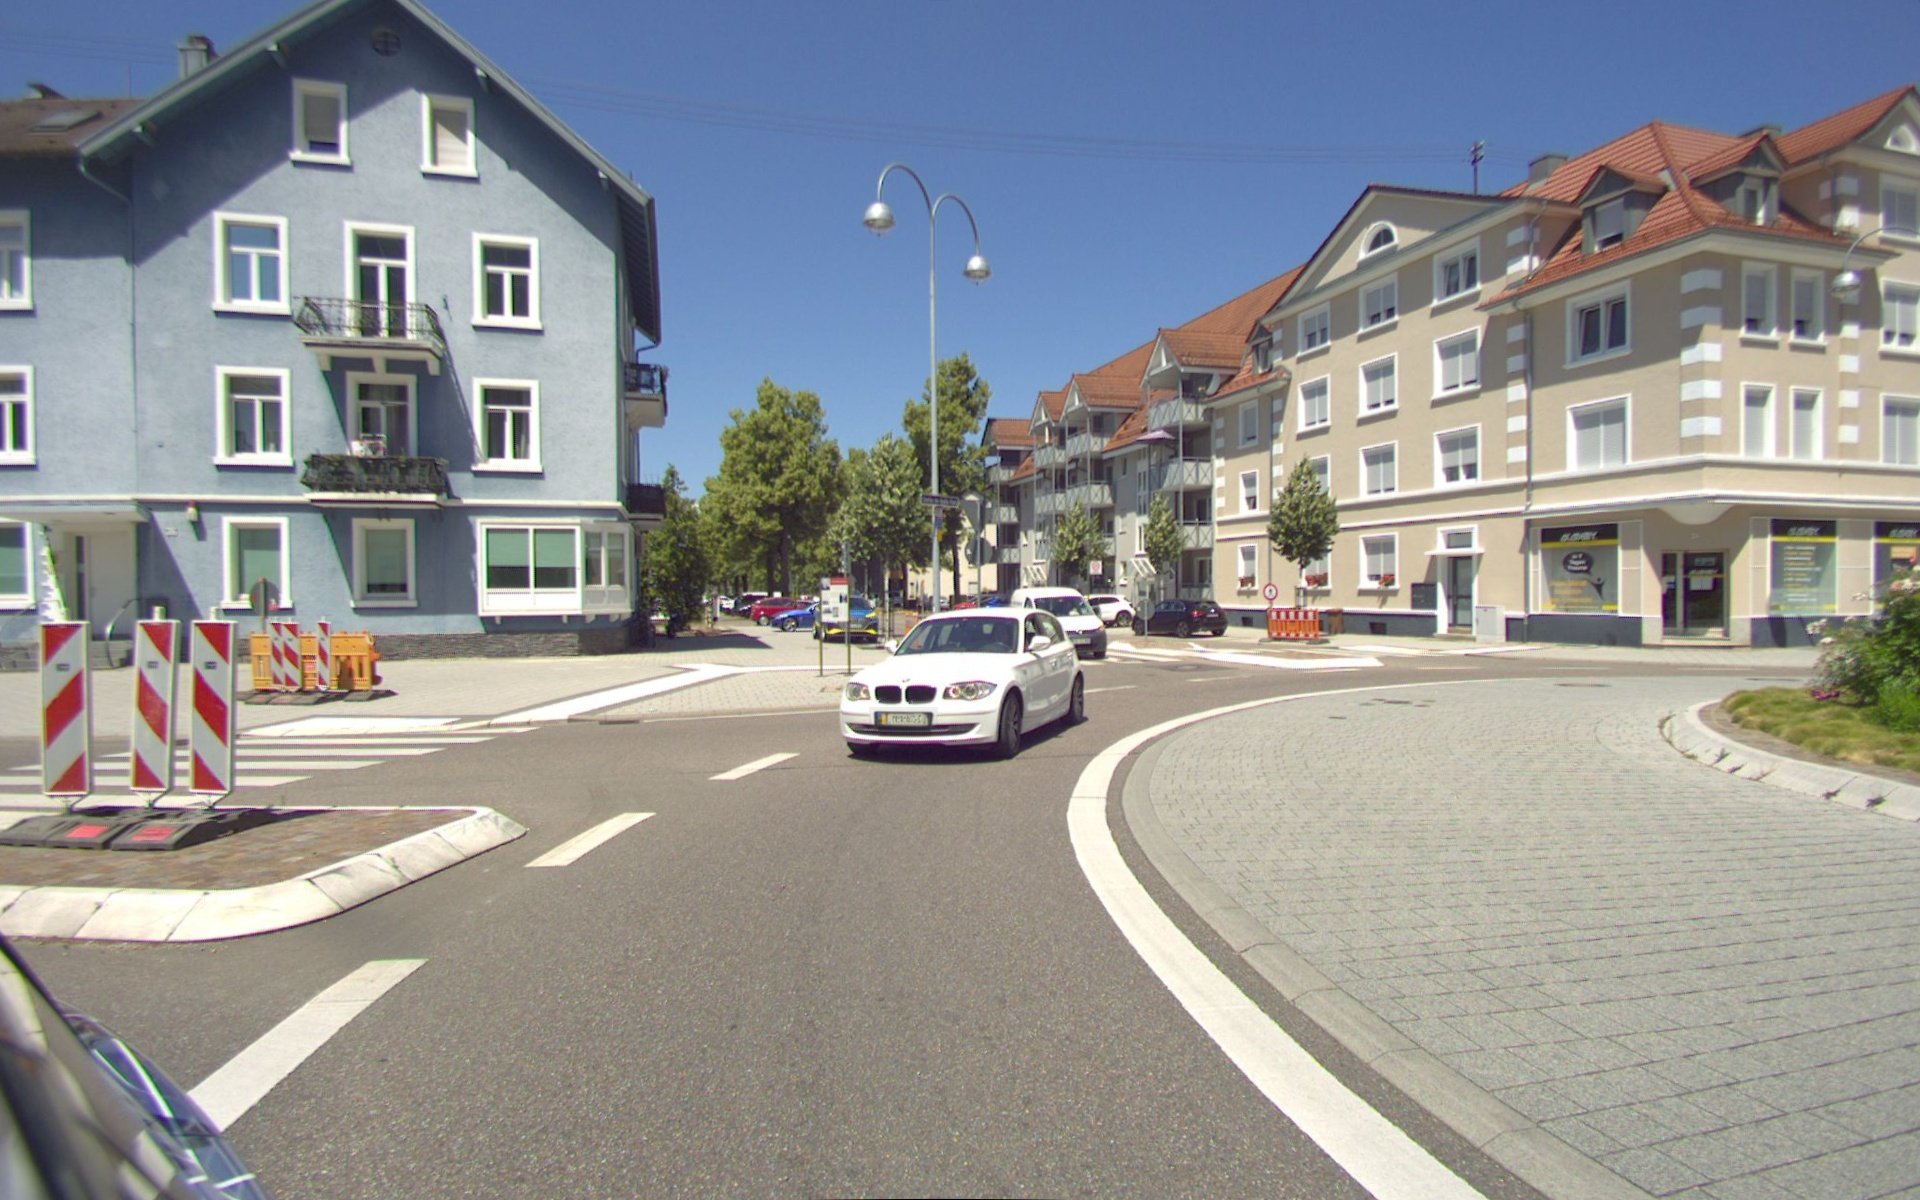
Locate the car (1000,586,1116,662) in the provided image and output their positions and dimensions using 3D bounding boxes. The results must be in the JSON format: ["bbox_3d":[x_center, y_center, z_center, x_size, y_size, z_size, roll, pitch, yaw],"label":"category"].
[{"bbox_3d":[2.430,0.562,26.229,1.752,1.791,4.254,-1,0,-12],"label":"car"}]

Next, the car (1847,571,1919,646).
[{"bbox_3d":[23.935,0.164,24.324,4.614,1.698,1.787,-1,0,-17],"label":"car"}]

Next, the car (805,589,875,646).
[{"bbox_3d":[-4.167,0.556,34.620,1.751,1.791,4.256,-1,1,-15],"label":"car"}]

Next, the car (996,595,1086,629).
[{"bbox_3d":[4.270,0.626,53.412,4.299,1.683,1.988,-1,-1,-15],"label":"car"}]

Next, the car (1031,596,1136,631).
[{"bbox_3d":[5.641,0.628,46.531,4.335,1.503,1.988,-1,-1,-15],"label":"car"}]

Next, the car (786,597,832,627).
[{"bbox_3d":[-8.987,0.709,60.041,2.246,1.705,4.138,0,-1,-15],"label":"car"}]

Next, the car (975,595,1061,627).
[{"bbox_3d":[3.180,0.607,56.017,4.299,1.683,1.988,-1,-1,-15],"label":"car"}]

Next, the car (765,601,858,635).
[{"bbox_3d":[-6.744,0.782,45.857,3.964,1.369,1.666,-1,3,-15],"label":"car"}]

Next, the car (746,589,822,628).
[{"bbox_3d":[-9.697,0.452,55.626,3.933,2.028,2.006,-1,2,-14],"label":"car"}]

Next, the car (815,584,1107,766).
[{"bbox_3d":[0.237,0.678,10.912,1.775,1.563,4.099,-2,-1,21],"label":"car"}]

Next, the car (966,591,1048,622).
[{"bbox_3d":[2.692,0.392,58.329,4.299,1.683,1.988,-1,-1,-15],"label":"car"}]
